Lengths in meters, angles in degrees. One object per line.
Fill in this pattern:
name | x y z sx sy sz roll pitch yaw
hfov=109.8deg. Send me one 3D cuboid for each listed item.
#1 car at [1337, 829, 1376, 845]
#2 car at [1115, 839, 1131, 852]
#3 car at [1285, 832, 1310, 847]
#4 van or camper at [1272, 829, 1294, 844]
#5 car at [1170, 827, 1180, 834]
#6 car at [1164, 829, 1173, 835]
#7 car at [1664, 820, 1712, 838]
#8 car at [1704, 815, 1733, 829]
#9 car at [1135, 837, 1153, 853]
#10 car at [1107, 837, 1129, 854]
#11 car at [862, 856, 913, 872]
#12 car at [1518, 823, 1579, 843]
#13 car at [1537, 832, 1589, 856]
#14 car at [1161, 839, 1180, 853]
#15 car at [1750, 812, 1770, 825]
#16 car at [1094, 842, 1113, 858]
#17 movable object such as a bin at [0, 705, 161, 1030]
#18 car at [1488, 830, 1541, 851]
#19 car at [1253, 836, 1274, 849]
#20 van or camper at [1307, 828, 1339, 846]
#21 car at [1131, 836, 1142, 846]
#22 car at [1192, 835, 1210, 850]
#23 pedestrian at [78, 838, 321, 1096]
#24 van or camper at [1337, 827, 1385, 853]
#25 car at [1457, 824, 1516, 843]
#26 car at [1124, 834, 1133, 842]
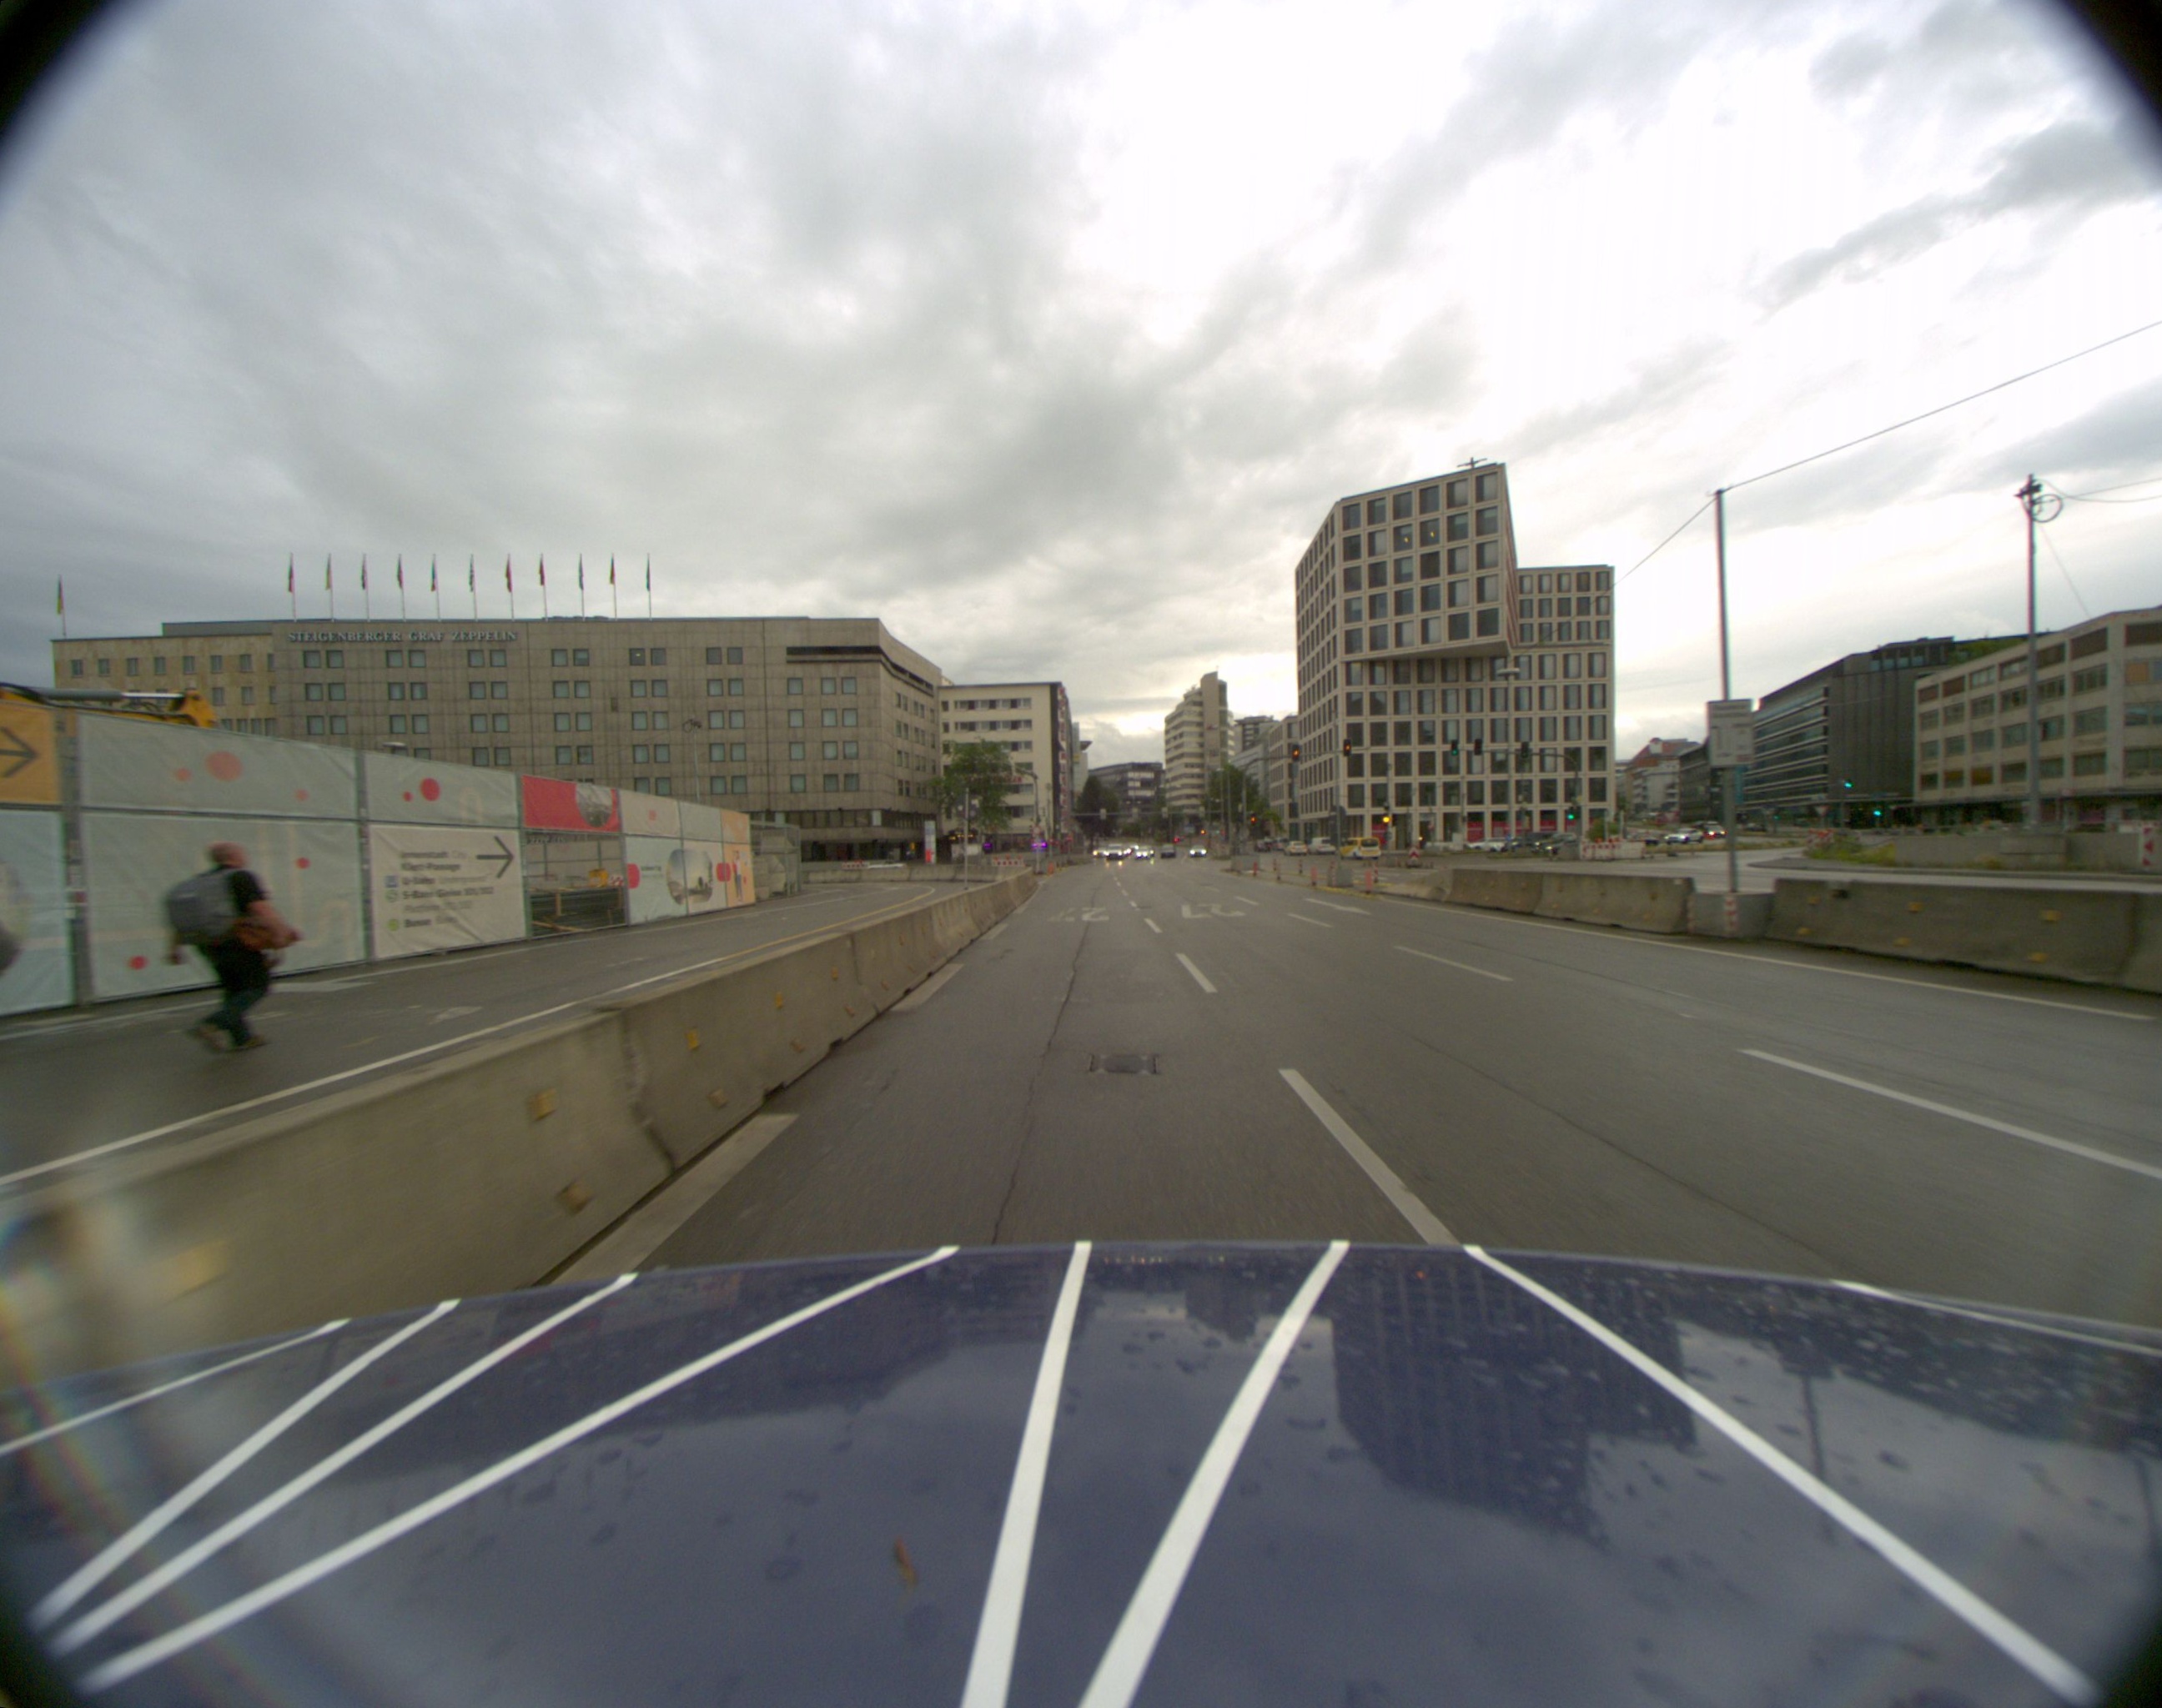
car | 31.241 -1.909 86.113 3.990 1.718 1.741 -1 2 27
car | 5.547 -1.161 99.940 2.016 1.589 4.663 -3 1 3
car | 24.698 -1.688 86.903 1.846 1.664 4.380 -3 2 4
van or camper | 28.762 -2.542 108.435 1.850 1.968 4.254 -3 2 0
car | 24.048 -5.985 194.198 1.850 1.589 4.179 -3 2 0
car | 23.213 -5.937 202.563 1.850 1.589 4.179 -3 2 0
car | 62.525 -2.601 78.285 4.134 1.706 1.854 -2 1 -18
car | 80.932 -4.029 96.515 1.853 1.706 4.137 -1 1 26
car | 7.579 -1.054 90.596 2.016 1.728 4.664 -3 2 5
car | 4.496 -1.055 92.078 2.085 1.894 5.086 -2 2 8
car | -18.724 0.997 73.759 4.528 1.302 1.642 -3 2 -4
car | 38.982 -1.747 63.391 3.999 1.478 1.834 -3 2 -8
car | 38.111 -0.794 60.058 4.005 1.687 1.692 -3 1 -28
car | 10.691 -0.972 91.030 2.016 1.589 4.664 -3 1 5
car | 108.598 -5.697 121.518 1.994 2.002 4.007 -1 2 36
car | 3.091 -0.602 103.552 1.921 2.002 4.002 -2 1 9
movable object such as a bin | -13.489 0.189 7.253 3.939 3.472 4.354 -1 1 -1
car | 41.975 -1.276 73.612 3.997 1.806 1.805 -3 2 1
car | 25.384 -1.628 105.725 1.850 1.589 4.179 -3 2 0
van or camper | 27.588 -1.976 86.745 1.886 1.883 5.211 -3 1 0
car | 8.833 -2.020 120.910 1.671 1.475 3.486 -2 1 4
car | 14.326 -1.382 90.431 2.015 1.589 4.665 -2 2 10
pedestrian | -6.628 0.807 5.763 0.927 1.823 0.686 -2 2 1
van or camper | 24.050 -1.256 65.467 2.244 2.043 5.607 -3 2 3
car | 41.245 -2.067 77.338 4.809 1.743 2.229 -2 1 0
car | 9.186 -3.018 147.202 1.671 1.475 3.486 -2 1 4
